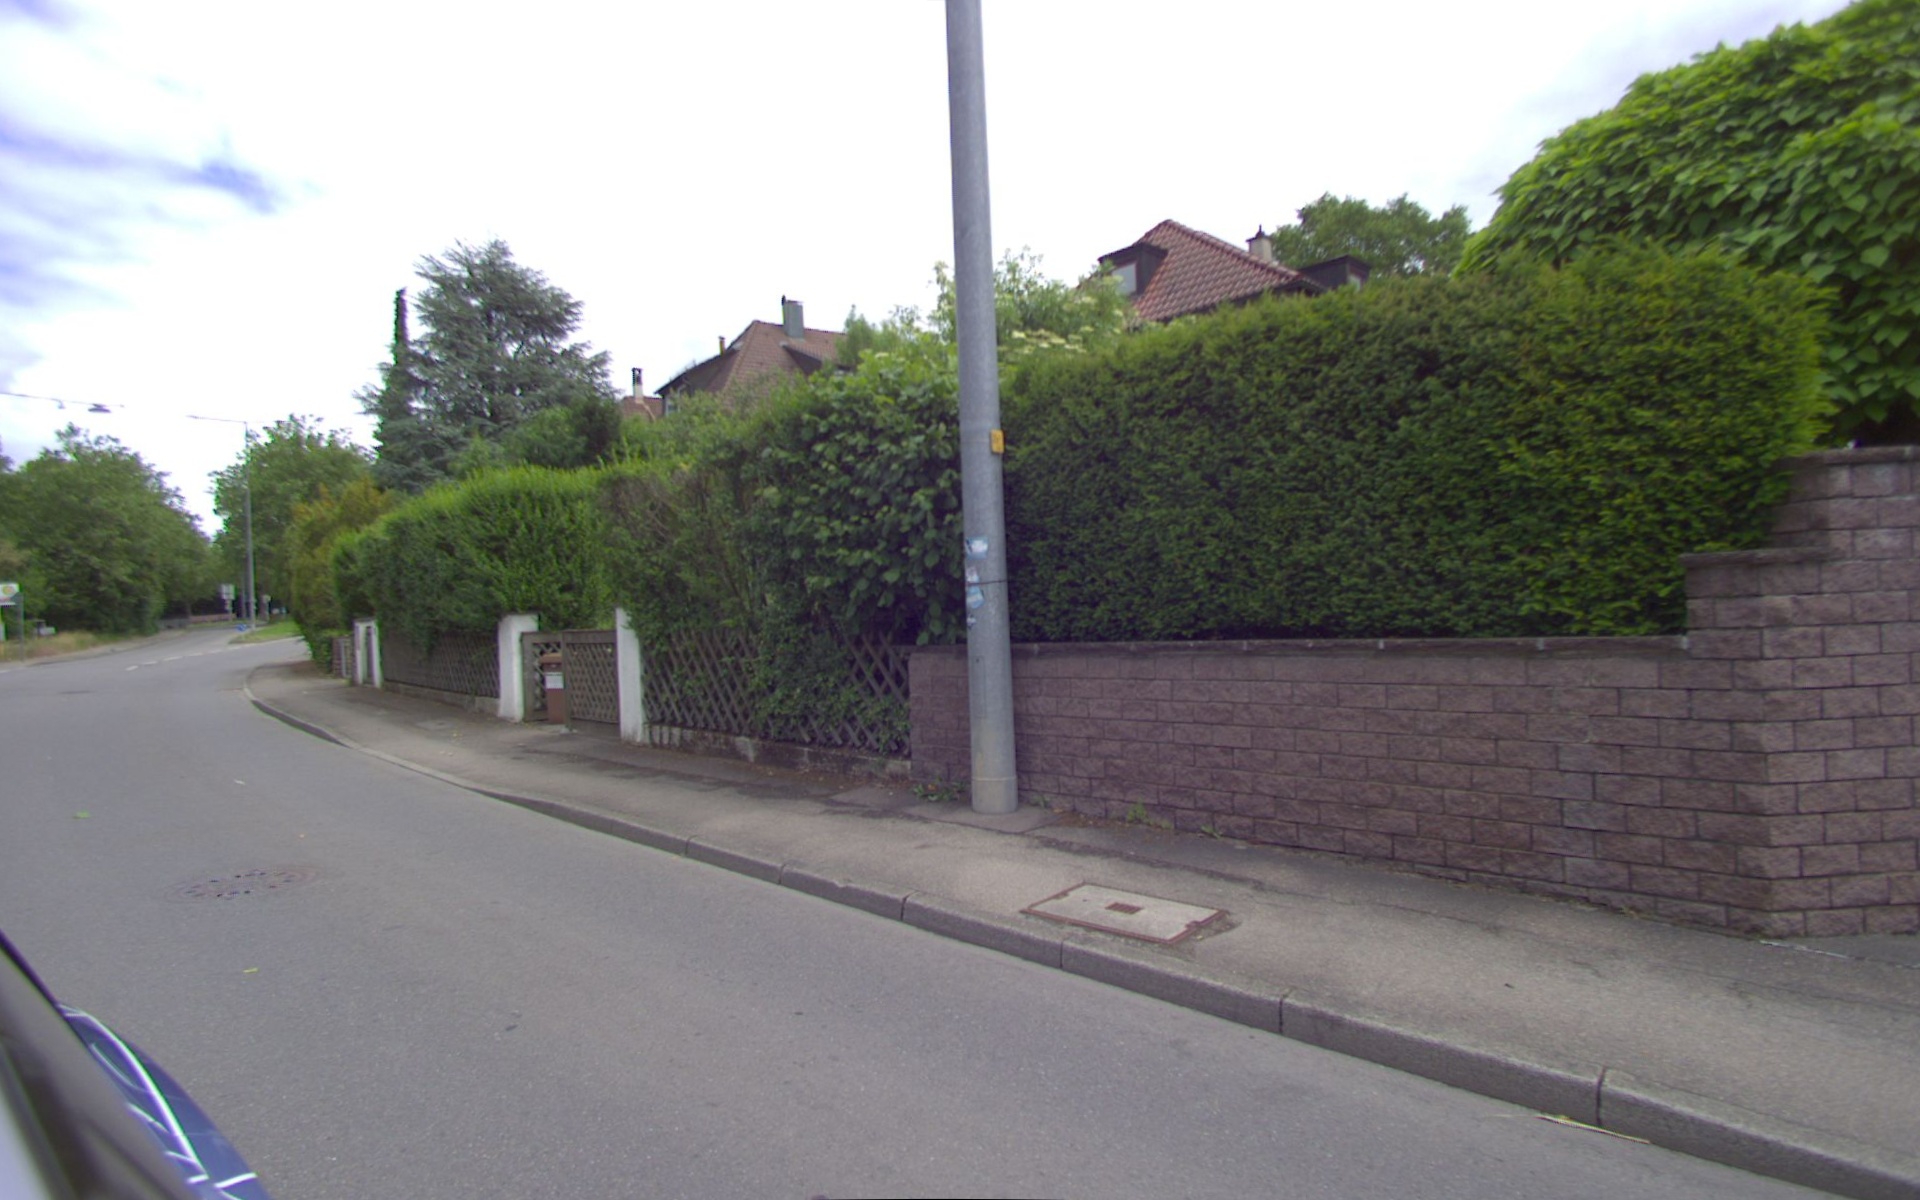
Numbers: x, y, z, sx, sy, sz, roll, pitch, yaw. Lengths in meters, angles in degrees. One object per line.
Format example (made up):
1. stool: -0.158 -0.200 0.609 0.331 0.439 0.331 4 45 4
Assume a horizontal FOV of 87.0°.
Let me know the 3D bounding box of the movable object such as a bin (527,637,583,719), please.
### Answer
1. movable object such as a bin: -5.303 1.017 13.257 0.497 1.039 0.444 -4 -2 29
